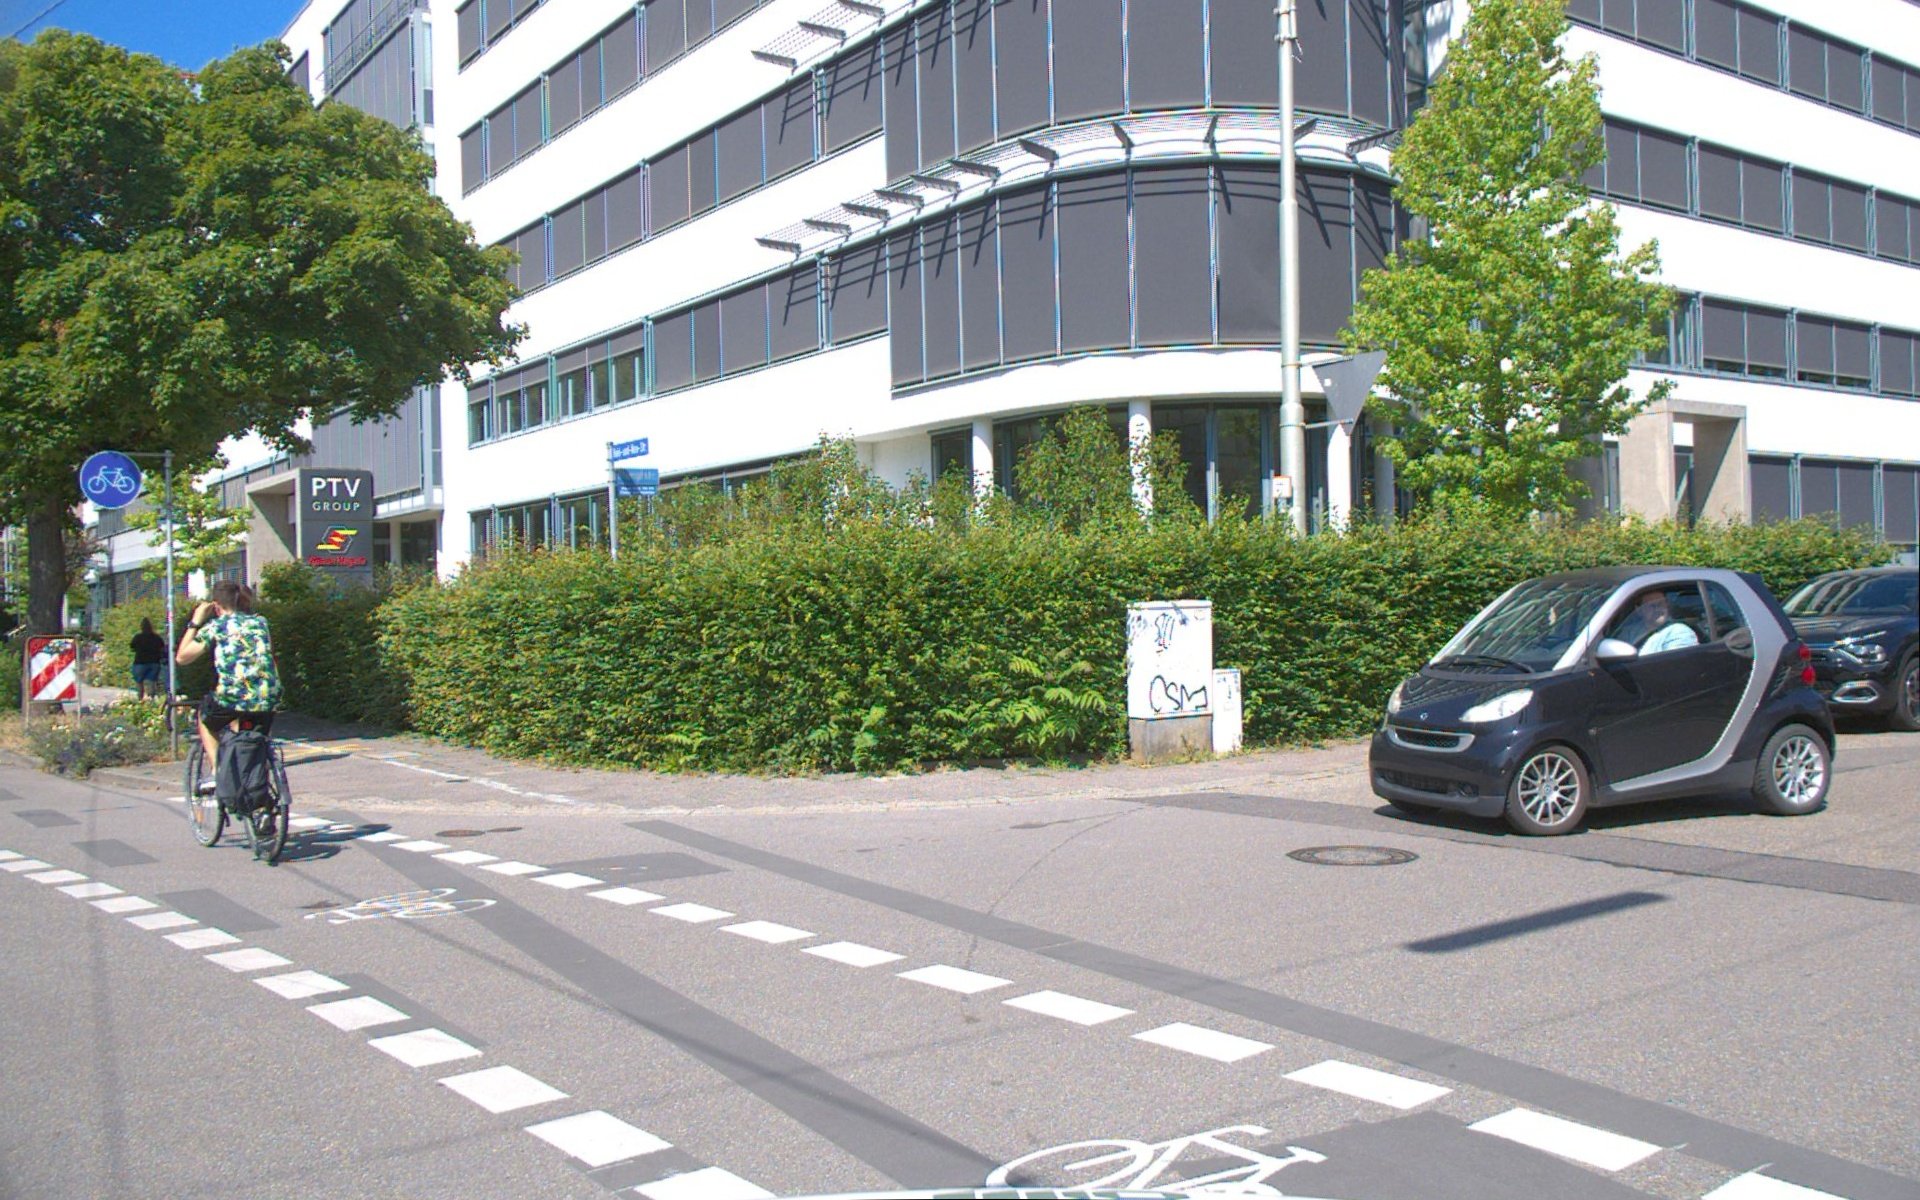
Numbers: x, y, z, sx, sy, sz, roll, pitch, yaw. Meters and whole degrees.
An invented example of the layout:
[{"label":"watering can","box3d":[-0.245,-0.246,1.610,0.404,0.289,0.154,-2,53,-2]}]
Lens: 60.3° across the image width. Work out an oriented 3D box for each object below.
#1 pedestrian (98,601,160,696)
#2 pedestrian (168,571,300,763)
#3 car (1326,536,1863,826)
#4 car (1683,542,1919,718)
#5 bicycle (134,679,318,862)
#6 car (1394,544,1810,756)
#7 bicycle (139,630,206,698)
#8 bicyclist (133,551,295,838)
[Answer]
[{"label":"pedestrian","box3d":[-14.458,0.843,28.779,0.682,1.590,0.973,-3,1,-41]},{"label":"pedestrian","box3d":[-7.329,0.651,16.687,0.885,1.849,1.056,-1,-1,-43]},{"label":"car","box3d":[4.023,0.448,10.575,2.922,1.565,1.471,-2,0,-19]},{"label":"car","box3d":[9.179,0.233,16.612,4.128,1.545,1.790,-2,0,-39]},{"label":"bicycle","box3d":[-4.789,1.047,10.705,0.604,1.001,2.135,-1,-1,-37]},{"label":"car","box3d":[5.514,0.349,14.046,3.659,1.554,1.681,-2,0,-39]},{"label":"bicycle","box3d":[-13.771,1.109,28.899,0.631,1.137,2.039,-1,-1,-37]},{"label":"bicyclist","box3d":[-4.851,0.583,10.736,0.711,1.754,0.974,-1,-1,-39]}]
